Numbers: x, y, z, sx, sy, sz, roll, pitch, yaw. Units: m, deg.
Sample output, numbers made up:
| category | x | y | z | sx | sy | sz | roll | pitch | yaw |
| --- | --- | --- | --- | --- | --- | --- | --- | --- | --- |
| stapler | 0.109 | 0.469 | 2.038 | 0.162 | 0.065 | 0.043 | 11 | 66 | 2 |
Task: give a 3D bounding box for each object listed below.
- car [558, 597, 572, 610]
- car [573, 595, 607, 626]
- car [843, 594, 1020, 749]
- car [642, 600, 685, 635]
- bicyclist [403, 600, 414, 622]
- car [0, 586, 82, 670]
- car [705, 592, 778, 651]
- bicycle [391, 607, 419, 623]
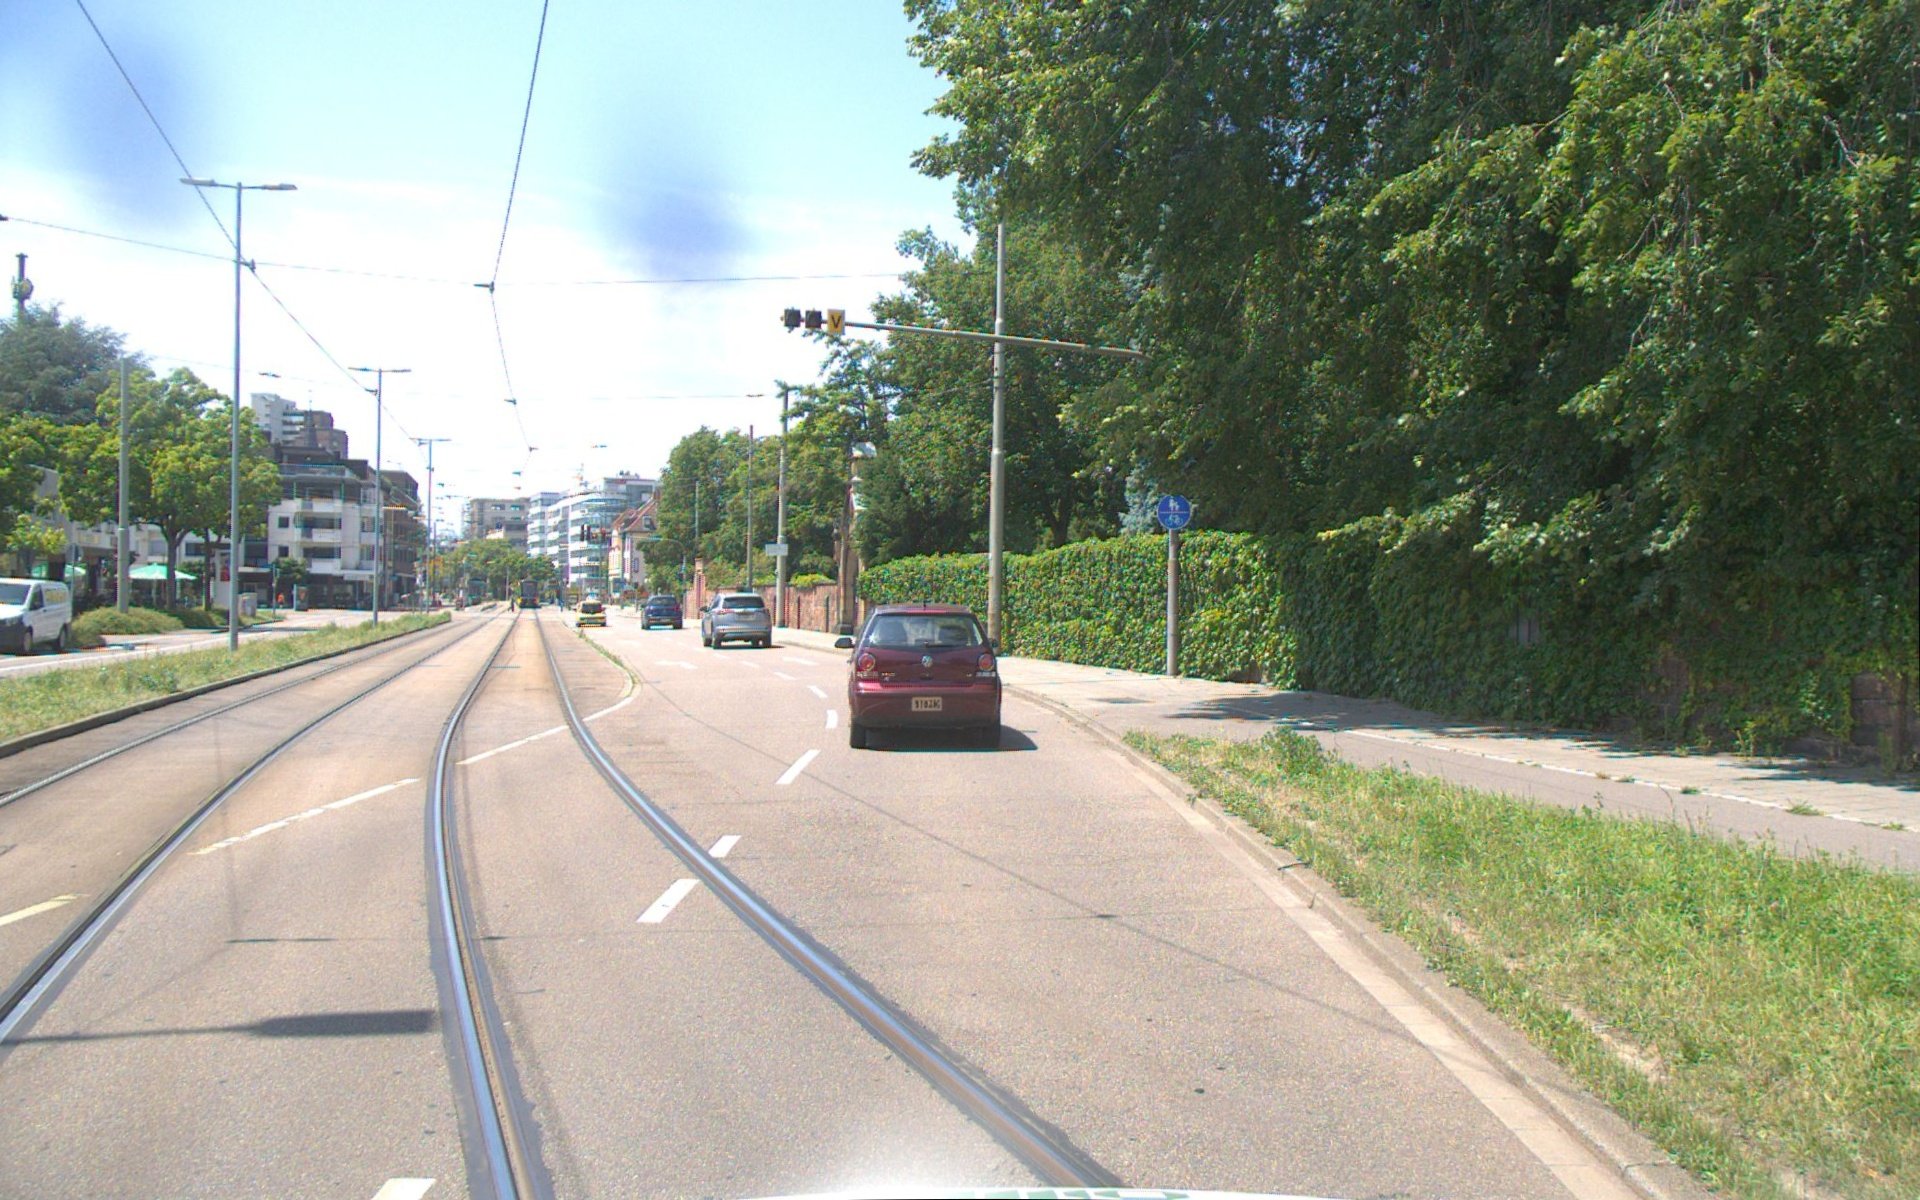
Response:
| category | x | y | z | sx | sy | sz | roll | pitch | yaw |
| --- | --- | --- | --- | --- | --- | --- | --- | --- | --- |
| car | -39.423 | 0.334 | 164.915 | 1.331 | 1.274 | 2.961 | 1 | 0 | -14 |
| car | -21.244 | 0.595 | 94.964 | 1.765 | 1.712 | 3.985 | 1 | 0 | -14 |
| car | -0.423 | 0.705 | 18.528 | 1.579 | 1.524 | 3.994 | -1 | 0 | -7 |
| car | -14.668 | 0.844 | 81.701 | 1.744 | 1.659 | 3.985 | 1 | 0 | -15 |
| bicyclist | -52.516 | 1.036 | 157.479 | 0.945 | 2.128 | 0.845 | 0 | 0 | -28 |
| car | -25.098 | 0.688 | 43.957 | 1.844 | 1.999 | 5.144 | 4 | -1 | -14 |
| car | -6.815 | 0.645 | 51.270 | 1.765 | 1.712 | 3.985 | 1 | 0 | -14 |
| bicycle | -52.798 | 1.398 | 157.335 | 2.481 | 1.444 | 0.631 | 0 | 0 | -29 |
